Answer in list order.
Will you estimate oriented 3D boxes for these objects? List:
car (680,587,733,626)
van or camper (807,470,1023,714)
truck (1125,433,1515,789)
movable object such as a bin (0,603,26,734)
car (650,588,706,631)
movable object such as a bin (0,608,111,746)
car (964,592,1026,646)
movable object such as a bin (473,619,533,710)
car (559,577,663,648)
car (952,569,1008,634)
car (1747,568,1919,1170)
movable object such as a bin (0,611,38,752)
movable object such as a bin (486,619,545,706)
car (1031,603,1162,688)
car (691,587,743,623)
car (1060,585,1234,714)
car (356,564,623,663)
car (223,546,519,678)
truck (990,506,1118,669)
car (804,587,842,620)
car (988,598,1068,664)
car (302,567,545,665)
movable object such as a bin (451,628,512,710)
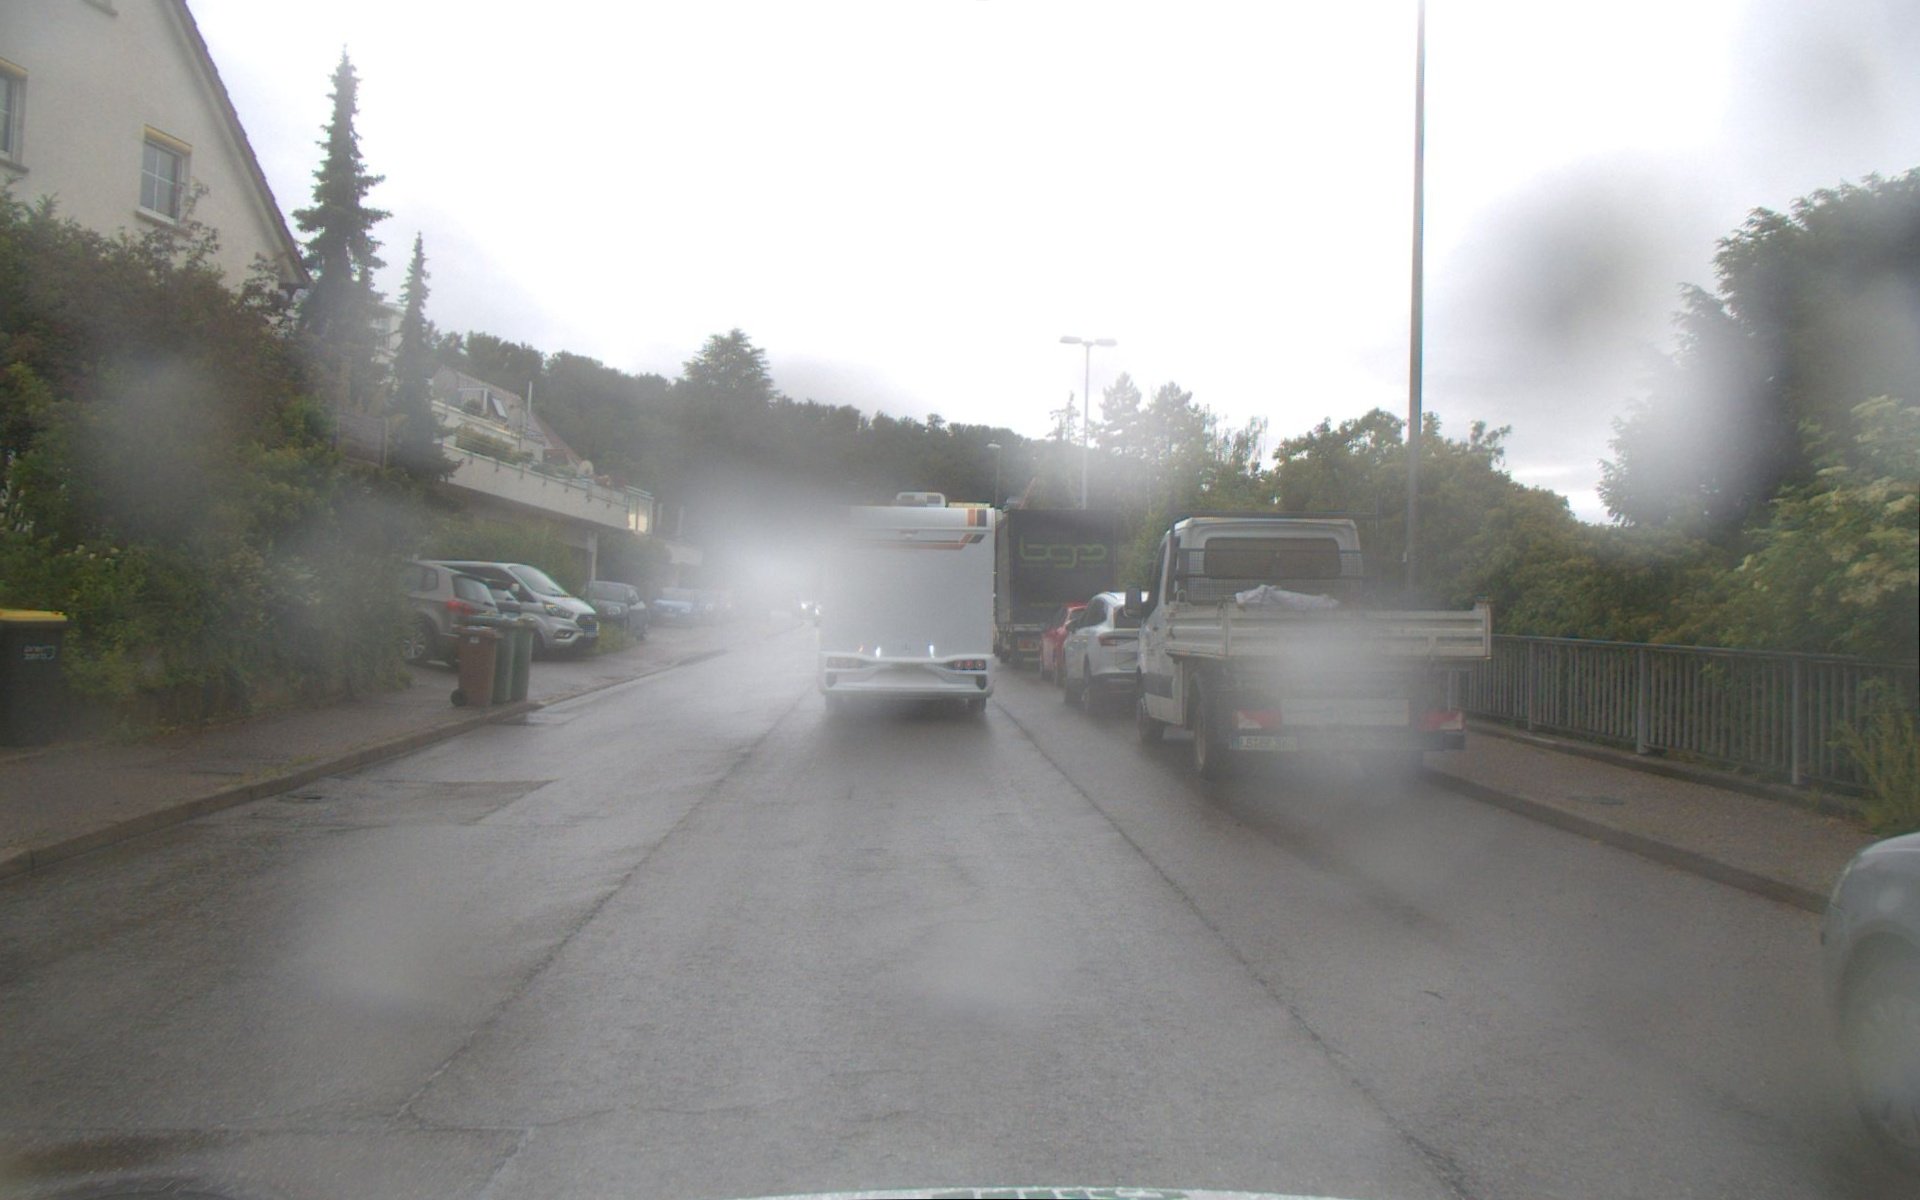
[{"bbox_3d":[-10.591,0.257,69.273,1.600,1.420,4.237,5,0,-2],"label":"car"},{"bbox_3d":[-0.630,-0.012,23.411,2.563,2.903,6.028,2,-2,-2],"label":"van or camper"},{"bbox_3d":[3.056,0.108,15.776,2.193,2.678,6.536,0,0,-1],"label":"truck"},{"bbox_3d":[-8.422,0.576,13.910,0.683,1.102,0.710,0,0,17],"label":"movable object such as a bin"},{"bbox_3d":[-10.751,0.339,63.260,1.575,1.459,3.957,5,0,-3],"label":"car"},{"bbox_3d":[-7.611,0.624,13.748,0.683,1.102,0.710,0,0,17],"label":"movable object such as a bin"},{"bbox_3d":[1.112,0.588,54.458,1.897,1.701,4.694,0,0,0],"label":"car"},{"bbox_3d":[-5.724,0.800,20.733,0.591,1.082,0.637,2,0,-6],"label":"movable object such as a bin"},{"bbox_3d":[-9.323,0.314,44.523,1.655,1.615,4.197,8,0,1],"label":"car"},{"bbox_3d":[0.768,0.054,68.024,1.990,2.549,5.953,0,0,-2],"label":"car"},{"bbox_3d":[3.358,0.707,3.344,1.614,1.591,3.962,0,0,-1],"label":"car"},{"bbox_3d":[-7.841,0.638,13.046,0.683,1.102,0.710,0,0,17],"label":"movable object such as a bin"},{"bbox_3d":[-5.758,0.801,21.445,0.591,1.082,0.697,2,0,-6],"label":"movable object such as a bin"},{"bbox_3d":[2.459,0.801,30.976,1.795,1.463,4.983,0,0,-3],"label":"car"},{"bbox_3d":[-11.314,0.208,77.191,1.739,1.461,4.586,6,0,-2],"label":"car"},{"bbox_3d":[2.510,0.640,23.277,1.724,1.632,4.664,0,0,-3],"label":"car"},{"bbox_3d":[-9.851,0.261,34.725,4.976,1.978,2.143,0,0,14],"label":"car"},{"bbox_3d":[-9.442,0.192,26.669,3.969,1.721,1.895,5,0,11],"label":"car"},{"bbox_3d":[2.038,-0.232,38.602,2.387,3.394,7.962,0,0,-1],"label":"truck"},{"bbox_3d":[-7.193,0.173,86.995,1.868,1.636,4.425,2,0,-4],"label":"car"},{"bbox_3d":[1.836,0.832,46.281,1.809,1.713,5.636,0,0,-2],"label":"car"},{"bbox_3d":[-10.267,0.306,31.768,3.969,1.667,1.895,2,-1,14],"label":"car"},{"bbox_3d":[-5.779,0.831,19.997,0.591,0.944,0.563,2,0,-7],"label":"movable object such as a bin"}]
